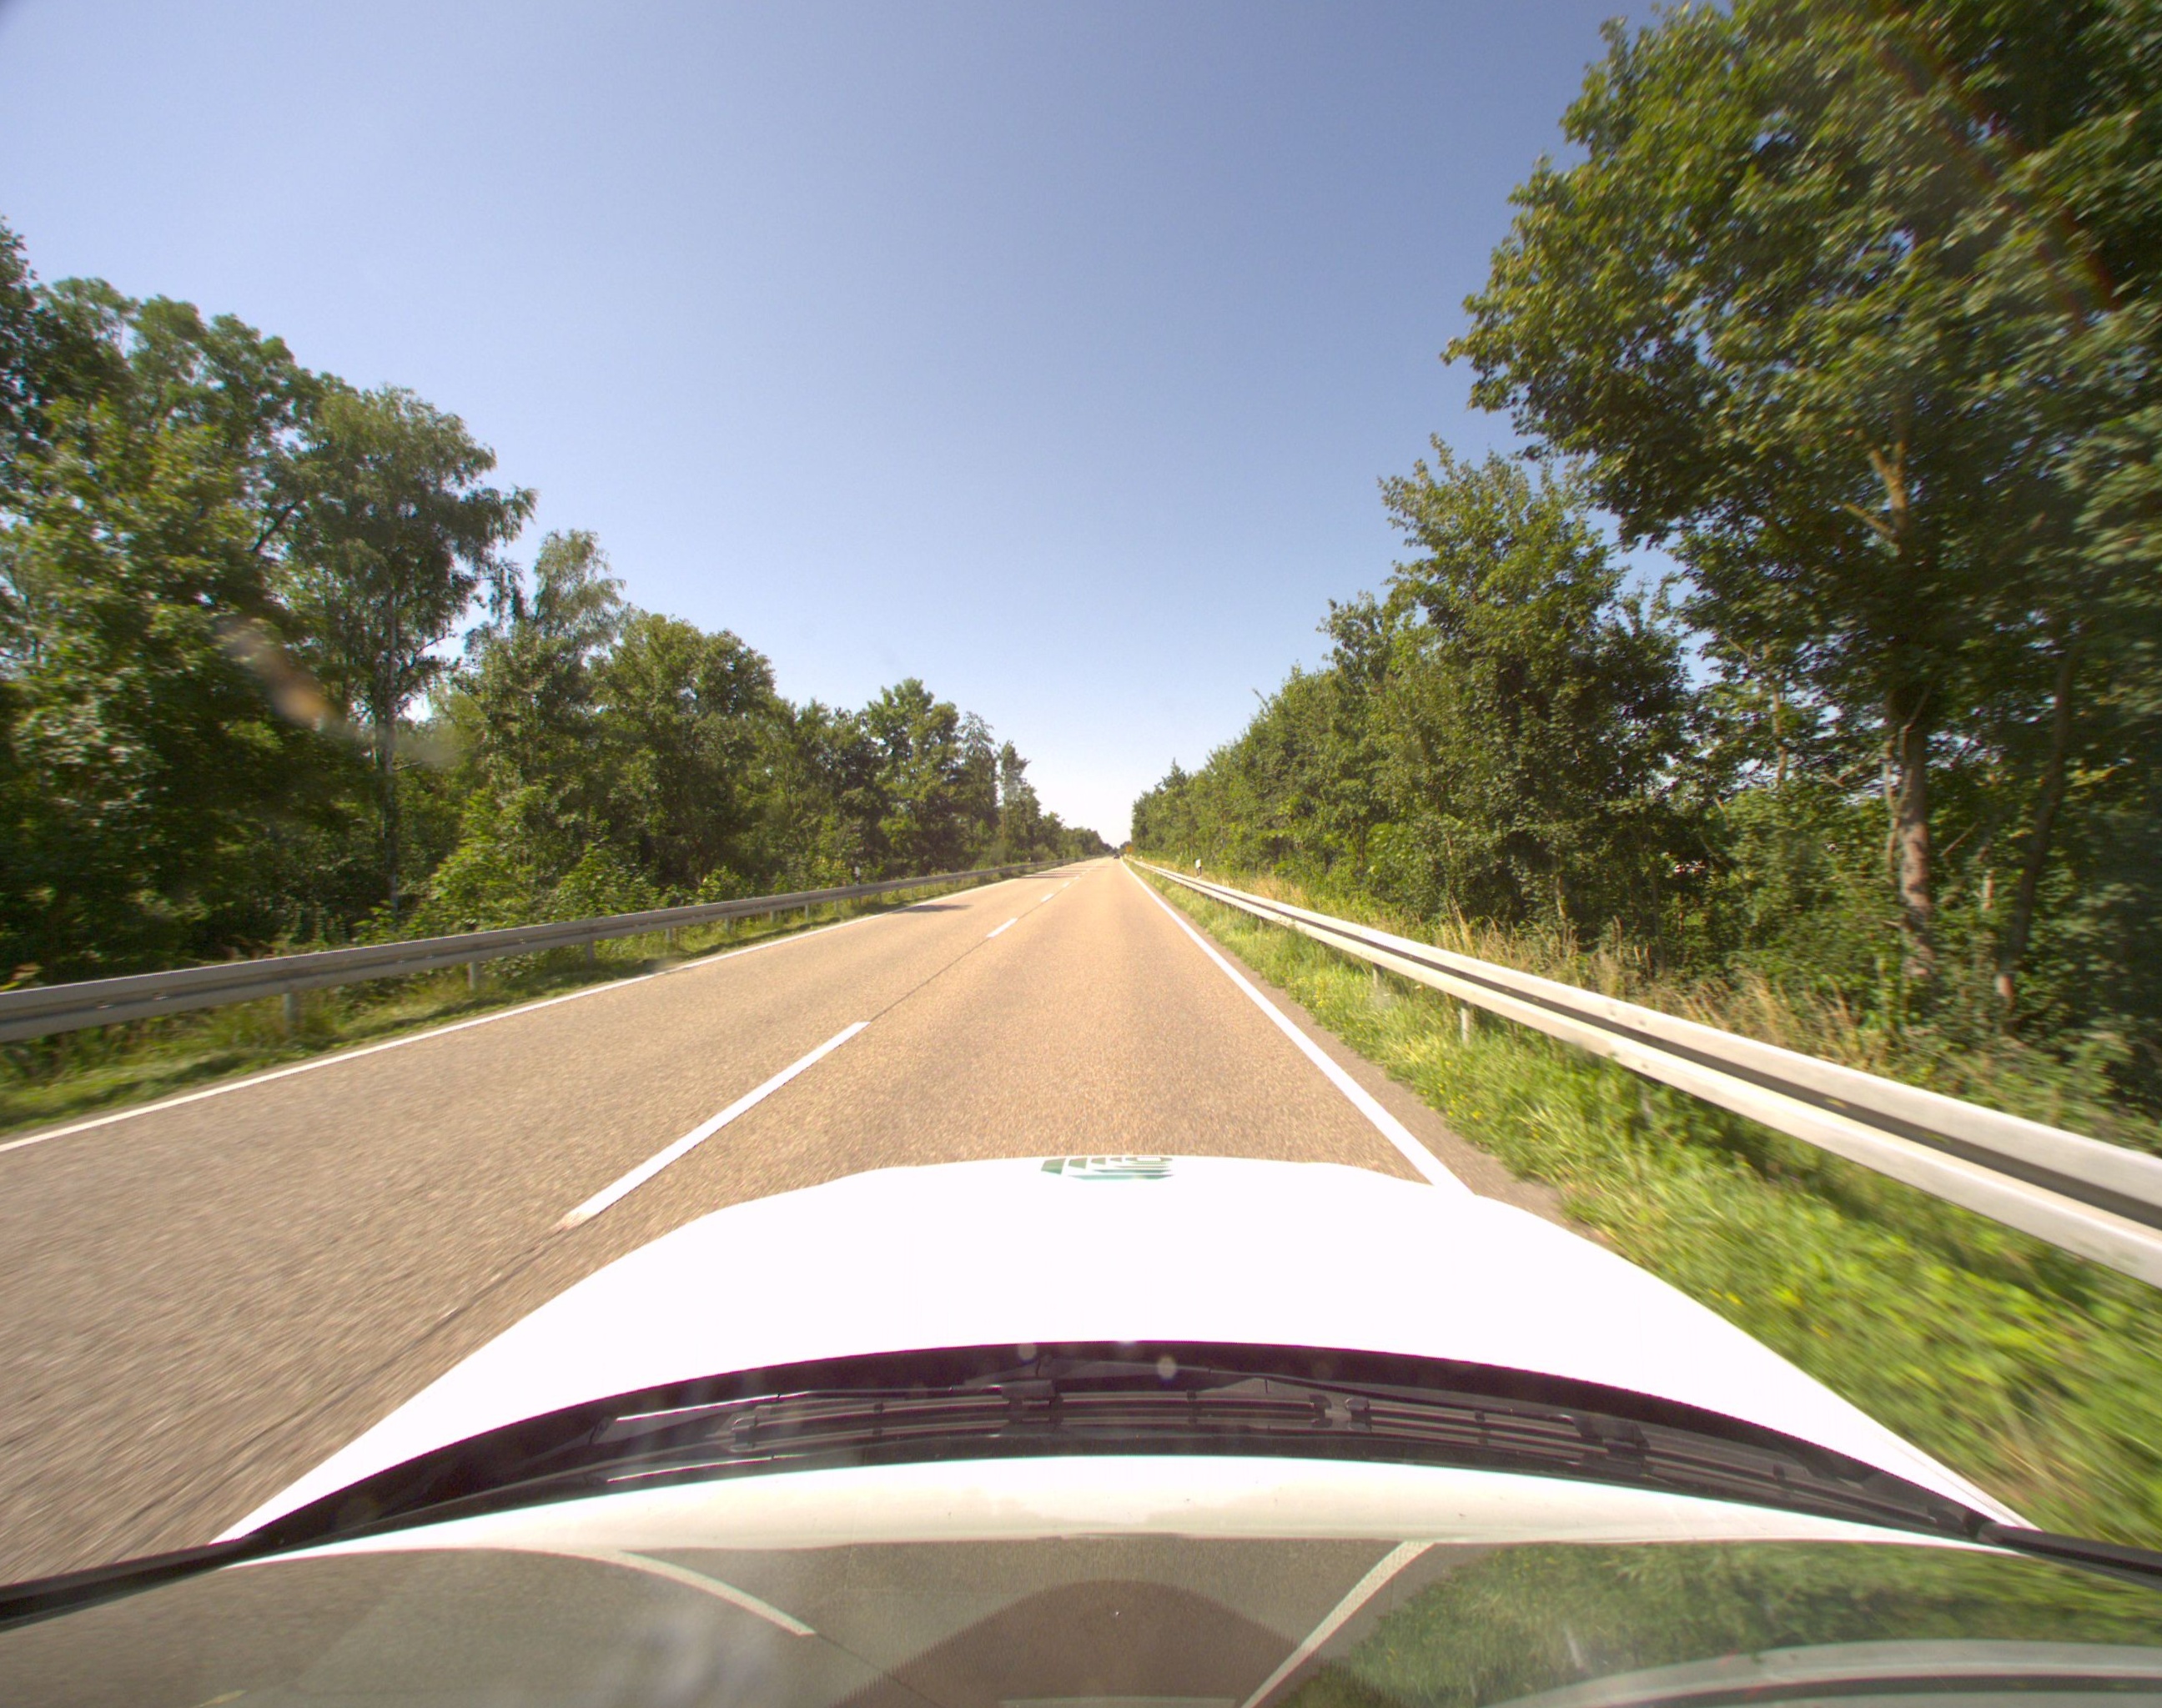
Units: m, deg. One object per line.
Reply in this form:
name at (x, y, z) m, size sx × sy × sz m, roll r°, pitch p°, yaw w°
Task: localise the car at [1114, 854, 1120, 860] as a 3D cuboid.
car at (10.286, 0.835, 231.953) m, size 1.733 × 1.470 × 3.696 m, roll -1°, pitch 0°, yaw 4°
